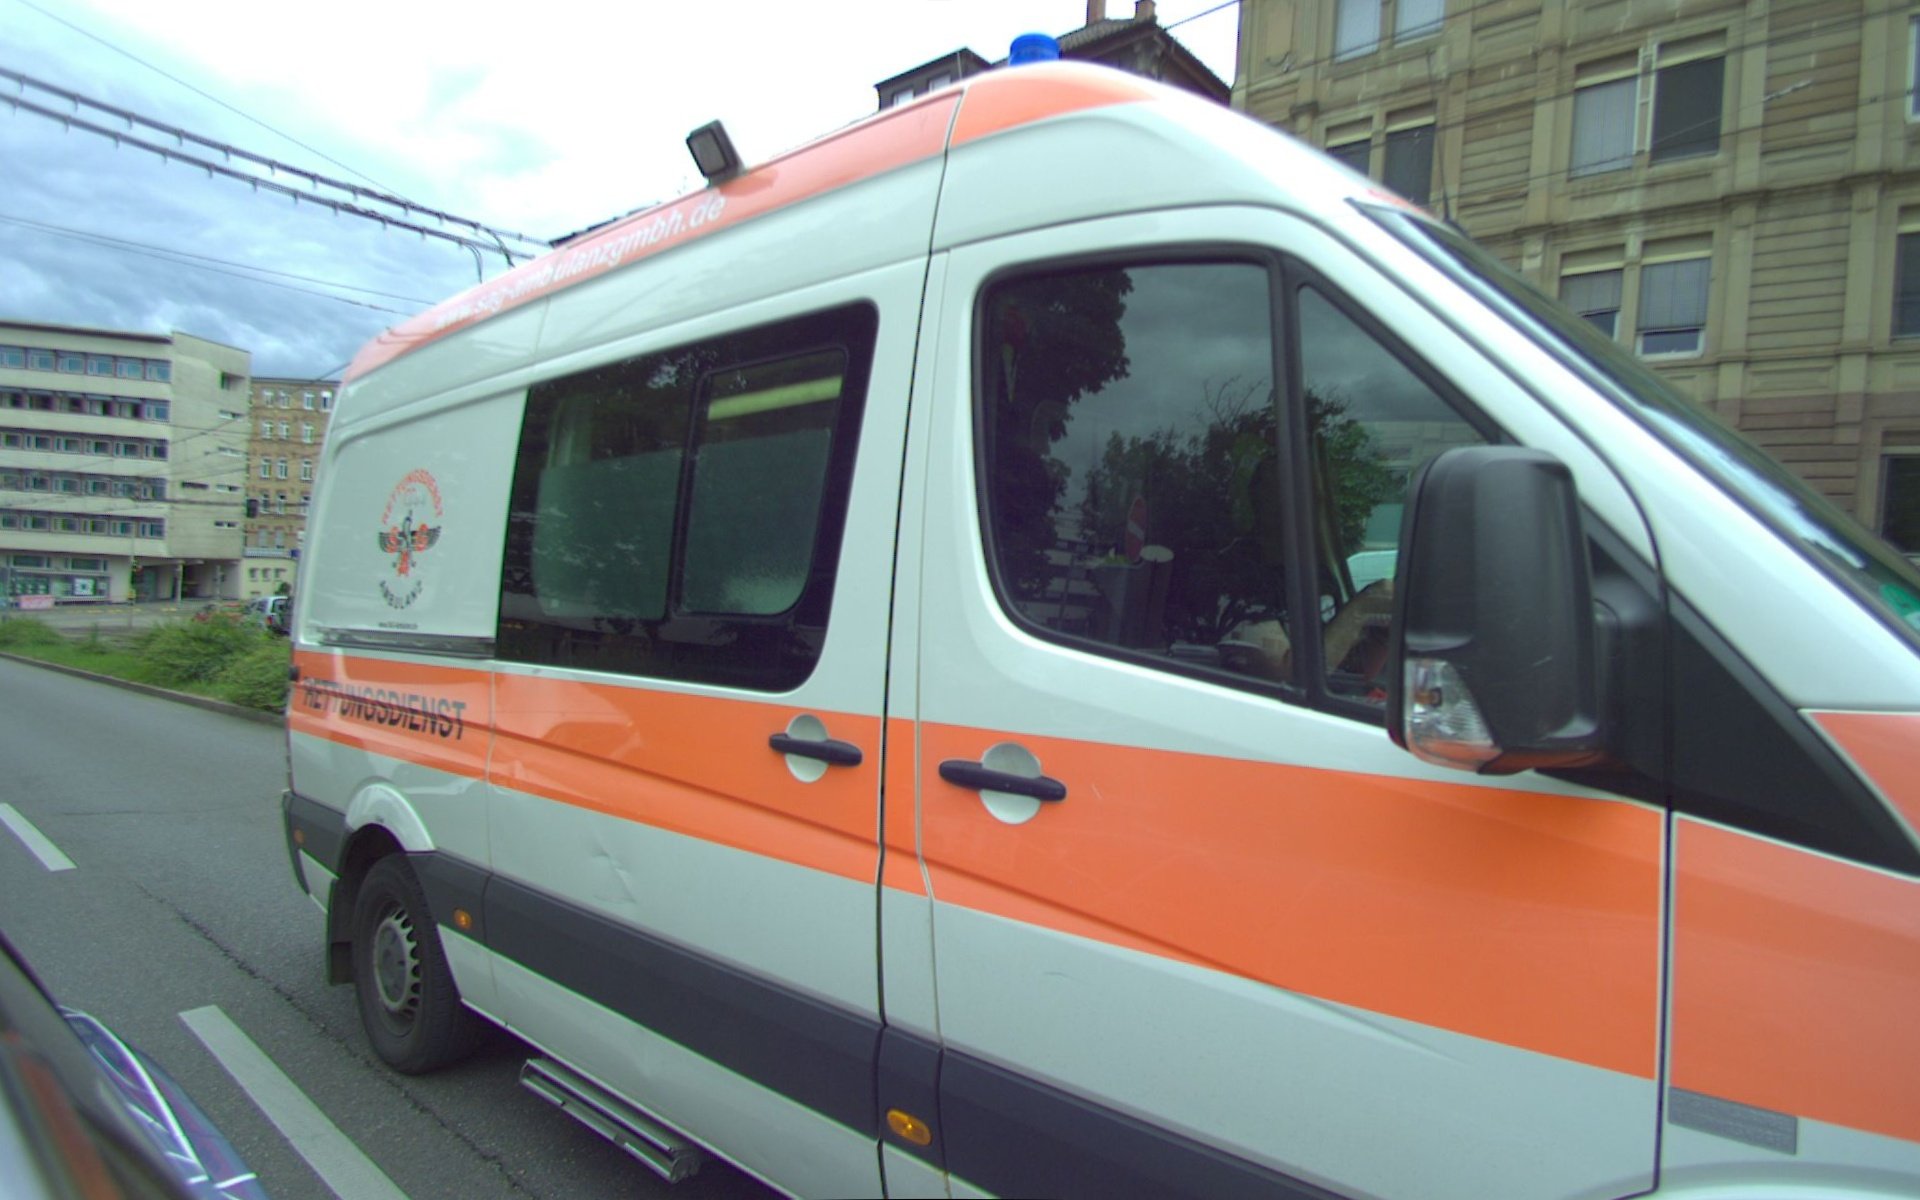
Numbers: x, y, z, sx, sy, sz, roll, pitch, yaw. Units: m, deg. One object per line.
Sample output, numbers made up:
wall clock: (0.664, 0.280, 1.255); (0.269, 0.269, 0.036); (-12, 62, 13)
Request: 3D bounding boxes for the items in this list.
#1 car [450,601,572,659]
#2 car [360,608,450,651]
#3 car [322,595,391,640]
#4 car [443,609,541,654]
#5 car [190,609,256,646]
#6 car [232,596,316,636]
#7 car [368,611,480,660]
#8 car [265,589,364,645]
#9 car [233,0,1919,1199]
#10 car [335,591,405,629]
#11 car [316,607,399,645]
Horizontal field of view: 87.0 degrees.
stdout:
car: (-12.788, 0.834, 28.774); (3.758, 1.541, 1.736); (0, -2, 41)
car: (-21.877, 1.152, 39.830); (3.996, 1.581, 1.737); (0, -2, 39)
car: (-29.955, 0.884, 50.208); (3.915, 2.137, 1.771); (0, -2, 41)
car: (-16.374, 1.084, 35.342); (3.746, 1.463, 1.704); (0, -2, 41)
car: (-34.079, 1.249, 46.774); (3.843, 1.641, 1.659); (0, -2, 42)
car: (-28.942, 0.676, 42.670); (3.998, 1.596, 1.973); (0, -2, 41)
car: (-17.580, 1.139, 33.141); (3.997, 1.507, 1.875); (0, -2, 40)
car: (-25.176, 0.657, 39.404); (4.748, 2.029, 2.118); (0, -2, 44)
car: (0.018, 0.352, 2.817); (5.851, 2.720, 2.012); (-1, -1, 41)
car: (-31.591, 0.552, 54.154); (3.994, 1.930, 1.825); (0, -2, 38)
car: (-25.675, 1.102, 43.087); (3.998, 1.522, 1.863); (0, -2, 41)
